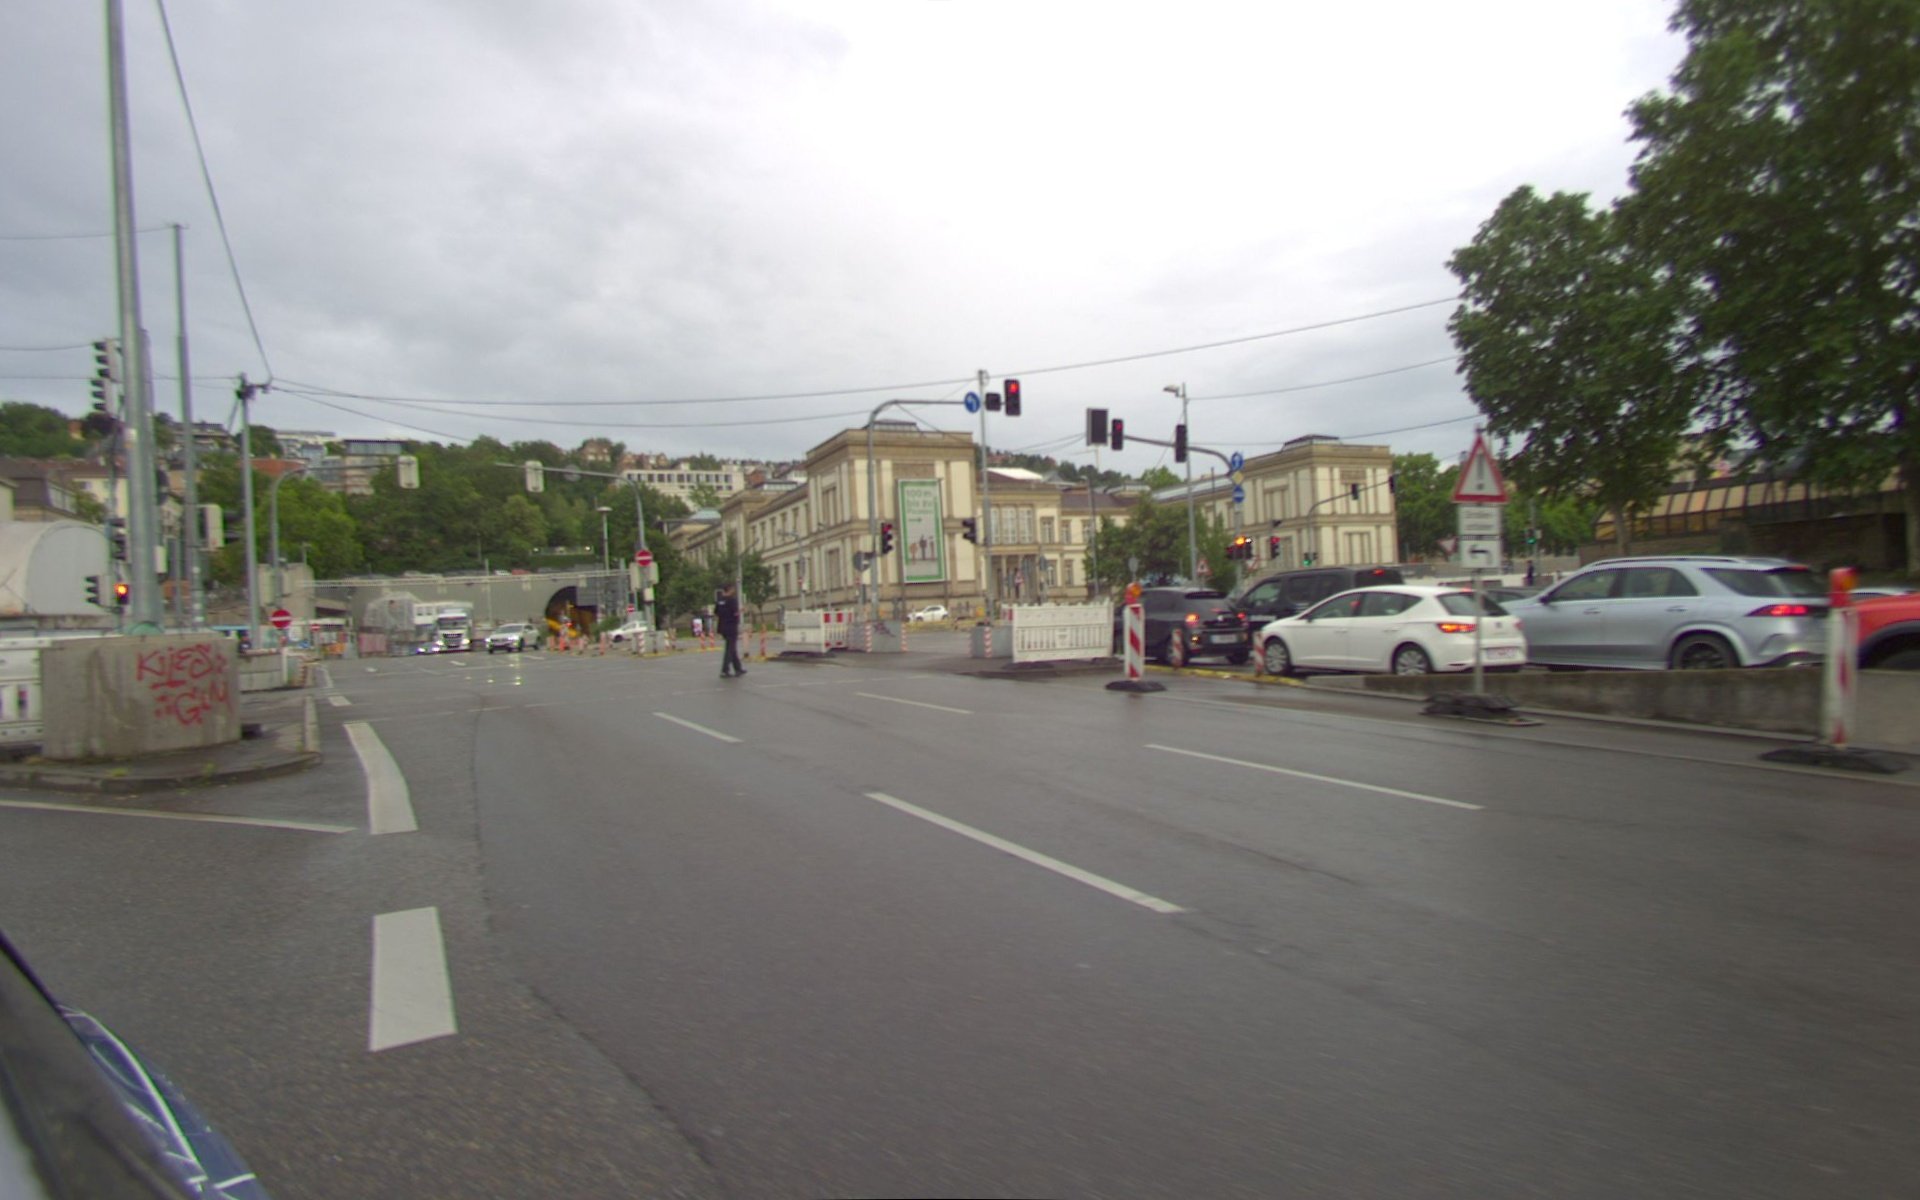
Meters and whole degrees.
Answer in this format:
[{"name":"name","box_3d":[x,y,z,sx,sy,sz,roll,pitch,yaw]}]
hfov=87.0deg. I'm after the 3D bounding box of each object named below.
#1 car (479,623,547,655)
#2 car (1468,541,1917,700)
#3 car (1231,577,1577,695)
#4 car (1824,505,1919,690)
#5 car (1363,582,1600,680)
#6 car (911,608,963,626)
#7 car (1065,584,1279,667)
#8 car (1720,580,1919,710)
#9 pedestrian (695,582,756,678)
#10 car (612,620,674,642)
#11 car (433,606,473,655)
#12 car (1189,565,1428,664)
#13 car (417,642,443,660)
[{"name":"car","box_3d":[-24.468,2.118,55.559,1.972,1.582,4.000,-1,0,0]},{"name":"car","box_3d":[9.765,0.230,13.993,1.965,1.808,4.630,-1,0,-26]},{"name":"car","box_3d":[6.425,0.459,15.279,1.965,1.482,4.576,-1,0,-26]},{"name":"car","box_3d":[10.041,-0.045,7.327,1.965,1.579,5.399,-1,0,-28]},{"name":"car","box_3d":[10.633,0.576,20.909,1.755,1.824,4.011,-1,0,-33]},{"name":"car","box_3d":[-2.083,1.539,91.525,4.271,1.482,2.007,-1,0,-24]},{"name":"car","box_3d":[4.154,0.466,20.571,1.965,1.482,4.360,-1,0,-26]},{"name":"car","box_3d":[13.693,0.607,14.574,1.817,1.763,4.011,-1,0,-33]},{"name":"pedestrian","box_3d":[-4.330,0.532,18.682,0.762,1.723,0.773,-1,0,41]},{"name":"car","box_3d":[-23.984,2.332,76.654,4.271,1.482,2.007,-1,0,-24]},{"name":"car","box_3d":[-44.199,2.525,88.411,2.789,4.044,8.754,-1,0,-25]},{"name":"car","box_3d":[7.035,0.265,21.006,1.965,1.808,4.630,-1,0,-26]},{"name":"car","box_3d":[-51.389,4.926,98.190,1.965,1.482,4.361,-1,0,-24]}]
